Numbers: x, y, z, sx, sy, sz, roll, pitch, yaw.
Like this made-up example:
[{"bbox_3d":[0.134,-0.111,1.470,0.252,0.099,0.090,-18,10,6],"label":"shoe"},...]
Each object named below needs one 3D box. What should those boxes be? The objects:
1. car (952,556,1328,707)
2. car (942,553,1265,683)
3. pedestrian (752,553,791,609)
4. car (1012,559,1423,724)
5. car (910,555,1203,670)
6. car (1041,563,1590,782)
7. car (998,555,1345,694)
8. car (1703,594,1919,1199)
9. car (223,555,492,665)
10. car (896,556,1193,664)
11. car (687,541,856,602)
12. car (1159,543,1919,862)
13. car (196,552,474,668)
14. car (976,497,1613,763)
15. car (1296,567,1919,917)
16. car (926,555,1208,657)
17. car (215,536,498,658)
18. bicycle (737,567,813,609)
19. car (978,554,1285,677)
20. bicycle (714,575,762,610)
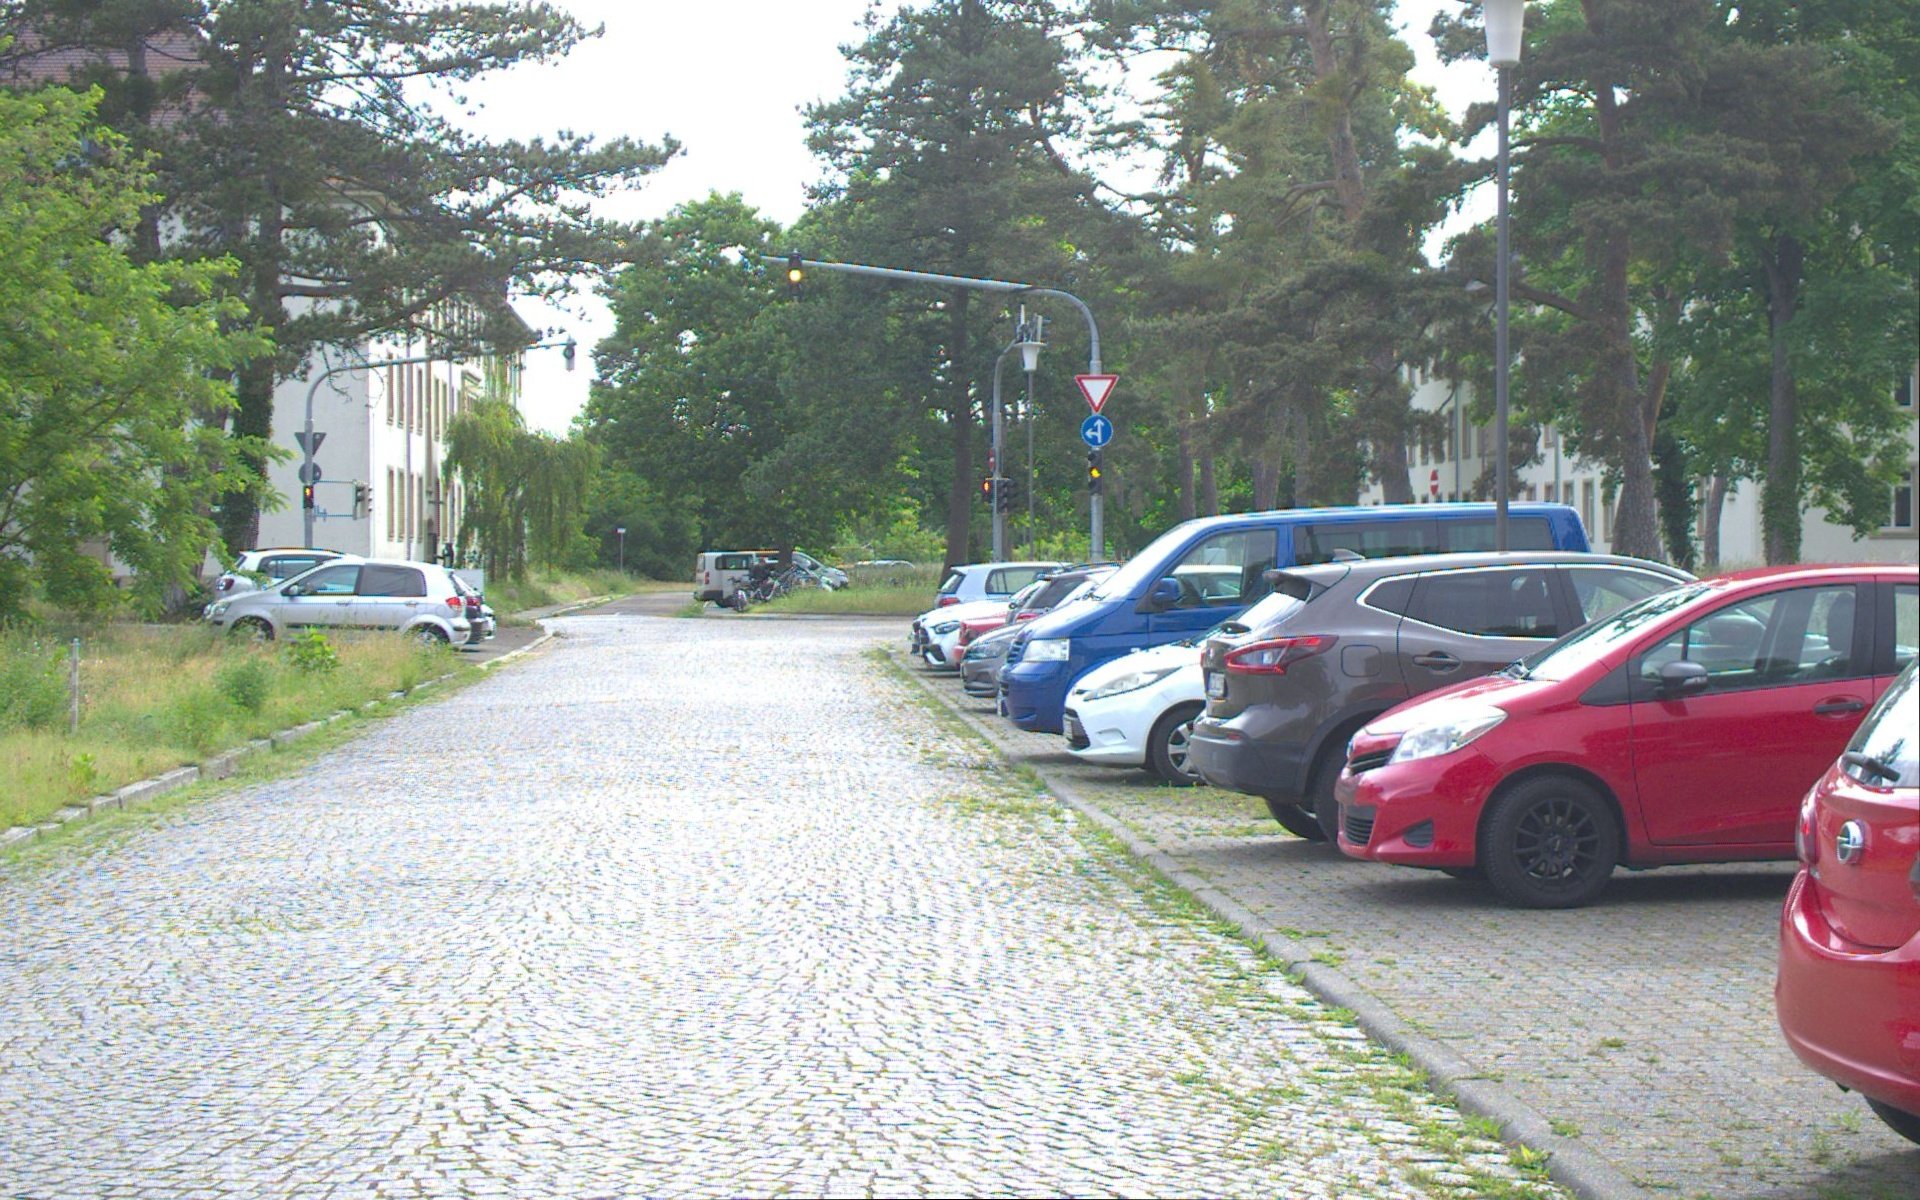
[{"bbox_3d":[1.824,0.312,35.509,3.671,1.444,1.524,-1,0,-5],"label":"car"},{"bbox_3d":[1.694,0.206,41.204,3.671,1.444,1.524,-1,0,-5],"label":"car"},{"bbox_3d":[-5.488,-0.567,100.099,1.033,1.608,0.758,1,0,-8],"label":"pedestrian"},{"bbox_3d":[2.419,0.378,32.757,3.671,1.444,1.524,-1,0,-5],"label":"car"},{"bbox_3d":[1.261,0.156,45.725,3.671,1.416,1.524,-1,0,-7],"label":"car"},{"bbox_3d":[2.523,0.498,24.880,3.671,1.444,1.615,-1,0,-6],"label":"car"},{"bbox_3d":[2.340,0.261,38.529,3.671,1.444,1.524,-1,0,-5],"label":"car"},{"bbox_3d":[3.945,0.689,8.314,3.825,1.455,1.779,-1,0,-4],"label":"car"},{"bbox_3d":[-9.085,0.141,52.038,3.821,1.567,1.564,-1,0,-4],"label":"car"},{"bbox_3d":[1.170,0.127,48.580,3.967,1.416,1.620,-1,0,-7],"label":"car"},{"bbox_3d":[-6.465,-0.972,117.764,5.444,2.007,2.269,1,0,-12],"label":"car"},{"bbox_3d":[3.219,0.508,18.530,4.028,1.547,1.751,-1,0,-6],"label":"car"},{"bbox_3d":[-8.978,0.131,49.623,3.821,1.567,1.565,-1,0,-6],"label":"car"},{"bbox_3d":[2.607,0.215,27.479,4.753,1.948,1.932,-1,0,-5],"label":"car"},{"bbox_3d":[3.584,0.599,15.896,3.791,1.455,1.751,-1,0,-3],"label":"car"},{"bbox_3d":[1.577,0.077,51.256,3.967,1.416,1.620,-1,0,-7],"label":"car"},{"bbox_3d":[-9.619,-0.056,55.000,4.262,1.834,1.744,-1,0,-4],"label":"car"},{"bbox_3d":[-5.380,-0.347,99.712,2.136,1.210,0.622,1,0,-8],"label":"bicycle"},{"bbox_3d":[2.141,0.184,43.516,3.671,1.444,1.524,-1,0,-5],"label":"car"},{"bbox_3d":[-6.185,-0.218,95.772,0.620,0.942,1.663,1,1,-31],"label":"bicycle"}]
